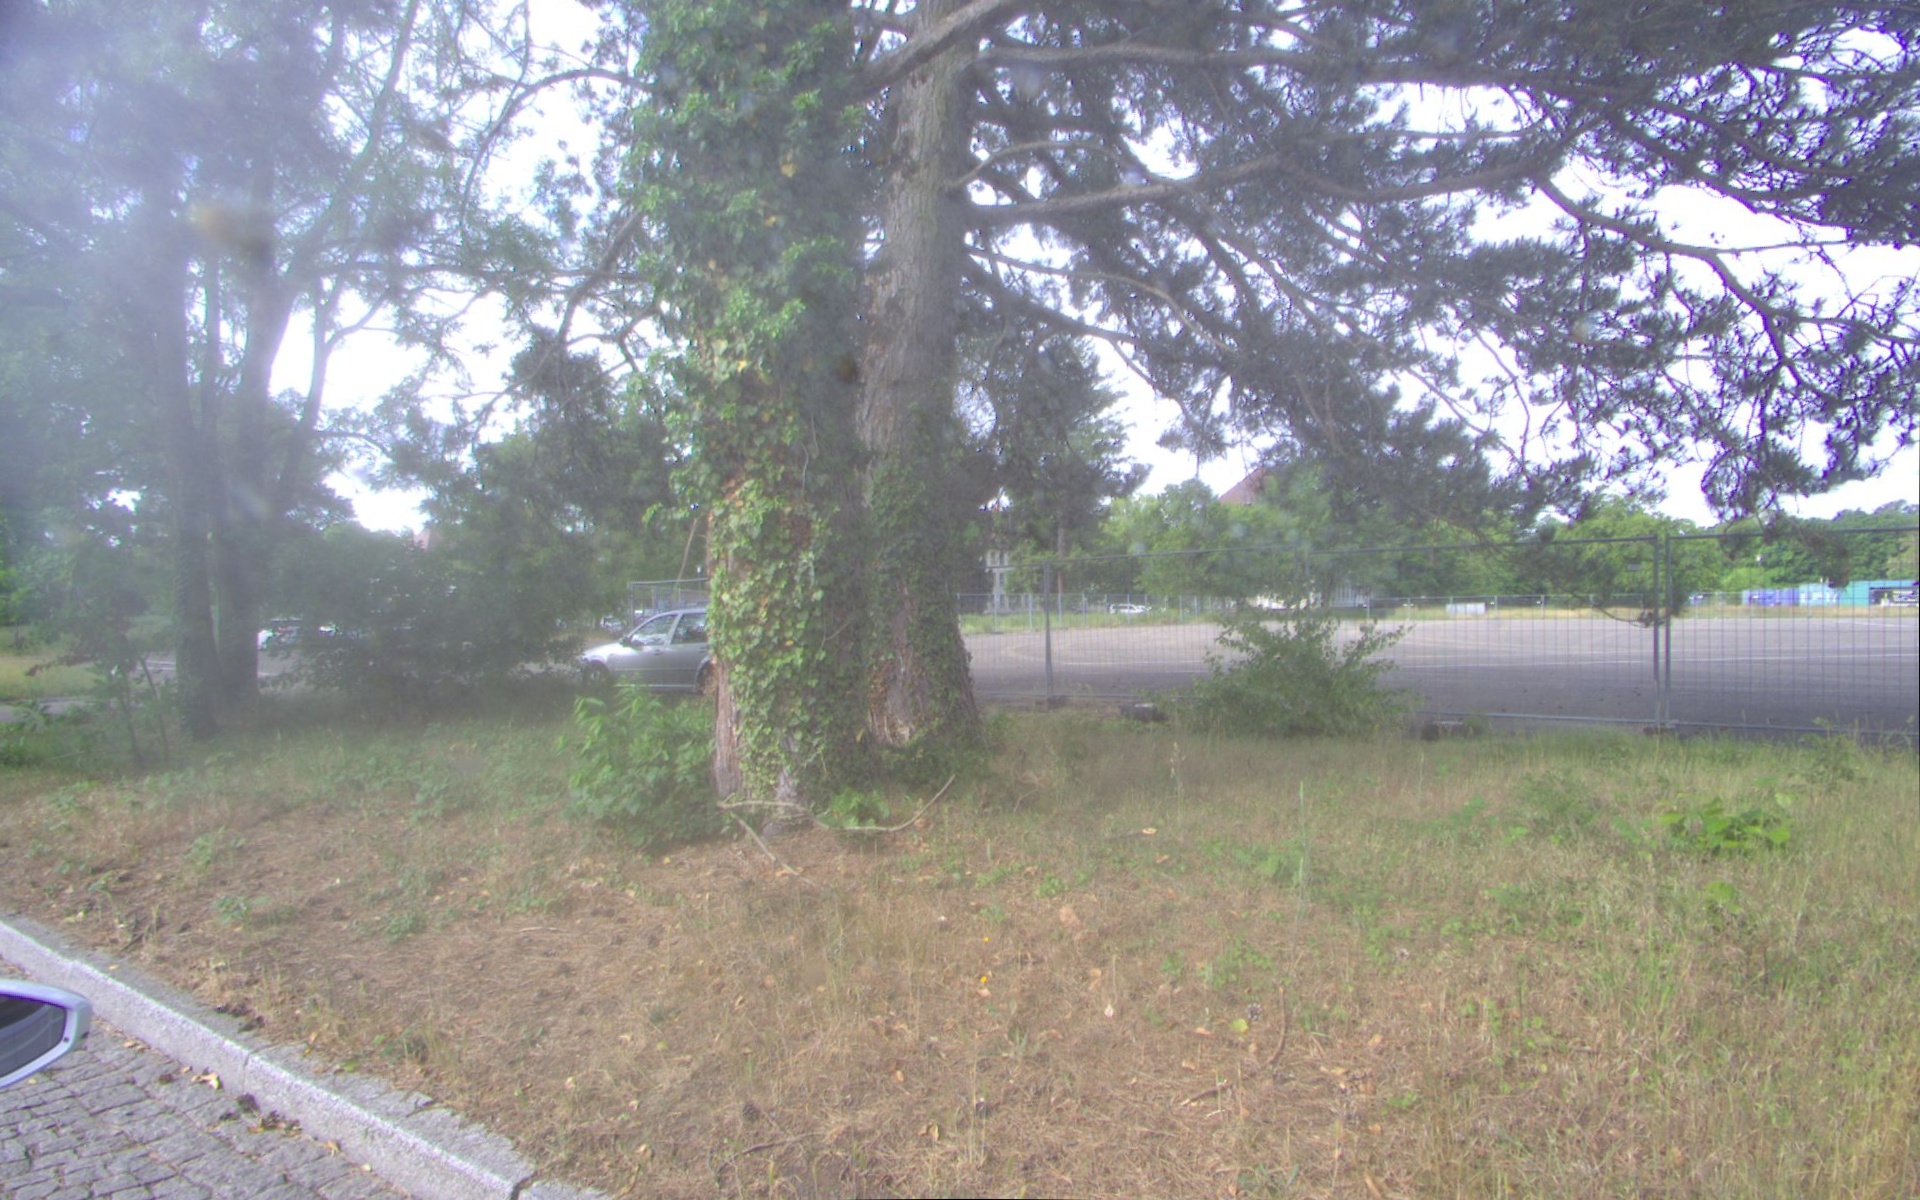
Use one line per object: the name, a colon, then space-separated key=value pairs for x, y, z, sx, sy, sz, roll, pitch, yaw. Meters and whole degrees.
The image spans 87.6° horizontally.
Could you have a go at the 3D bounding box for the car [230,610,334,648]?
car: x=-29.680 y=1.289 z=43.838 sx=4.359 sy=1.500 sz=1.991 roll=-3 pitch=-1 yaw=29

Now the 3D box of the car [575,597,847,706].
car: x=-3.812 y=0.760 z=15.138 sx=4.014 sy=1.444 sz=1.644 roll=-1 pitch=-3 yaw=31

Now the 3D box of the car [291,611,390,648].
car: x=-28.495 y=1.358 z=46.064 sx=4.359 sy=1.500 sz=1.991 roll=-3 pitch=-1 yaw=29

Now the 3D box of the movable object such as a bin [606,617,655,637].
movable object such as a bin: x=-14.735 y=1.210 z=44.759 sx=1.928 sy=0.836 sz=1.181 roll=-1 pitch=0 yaw=37
